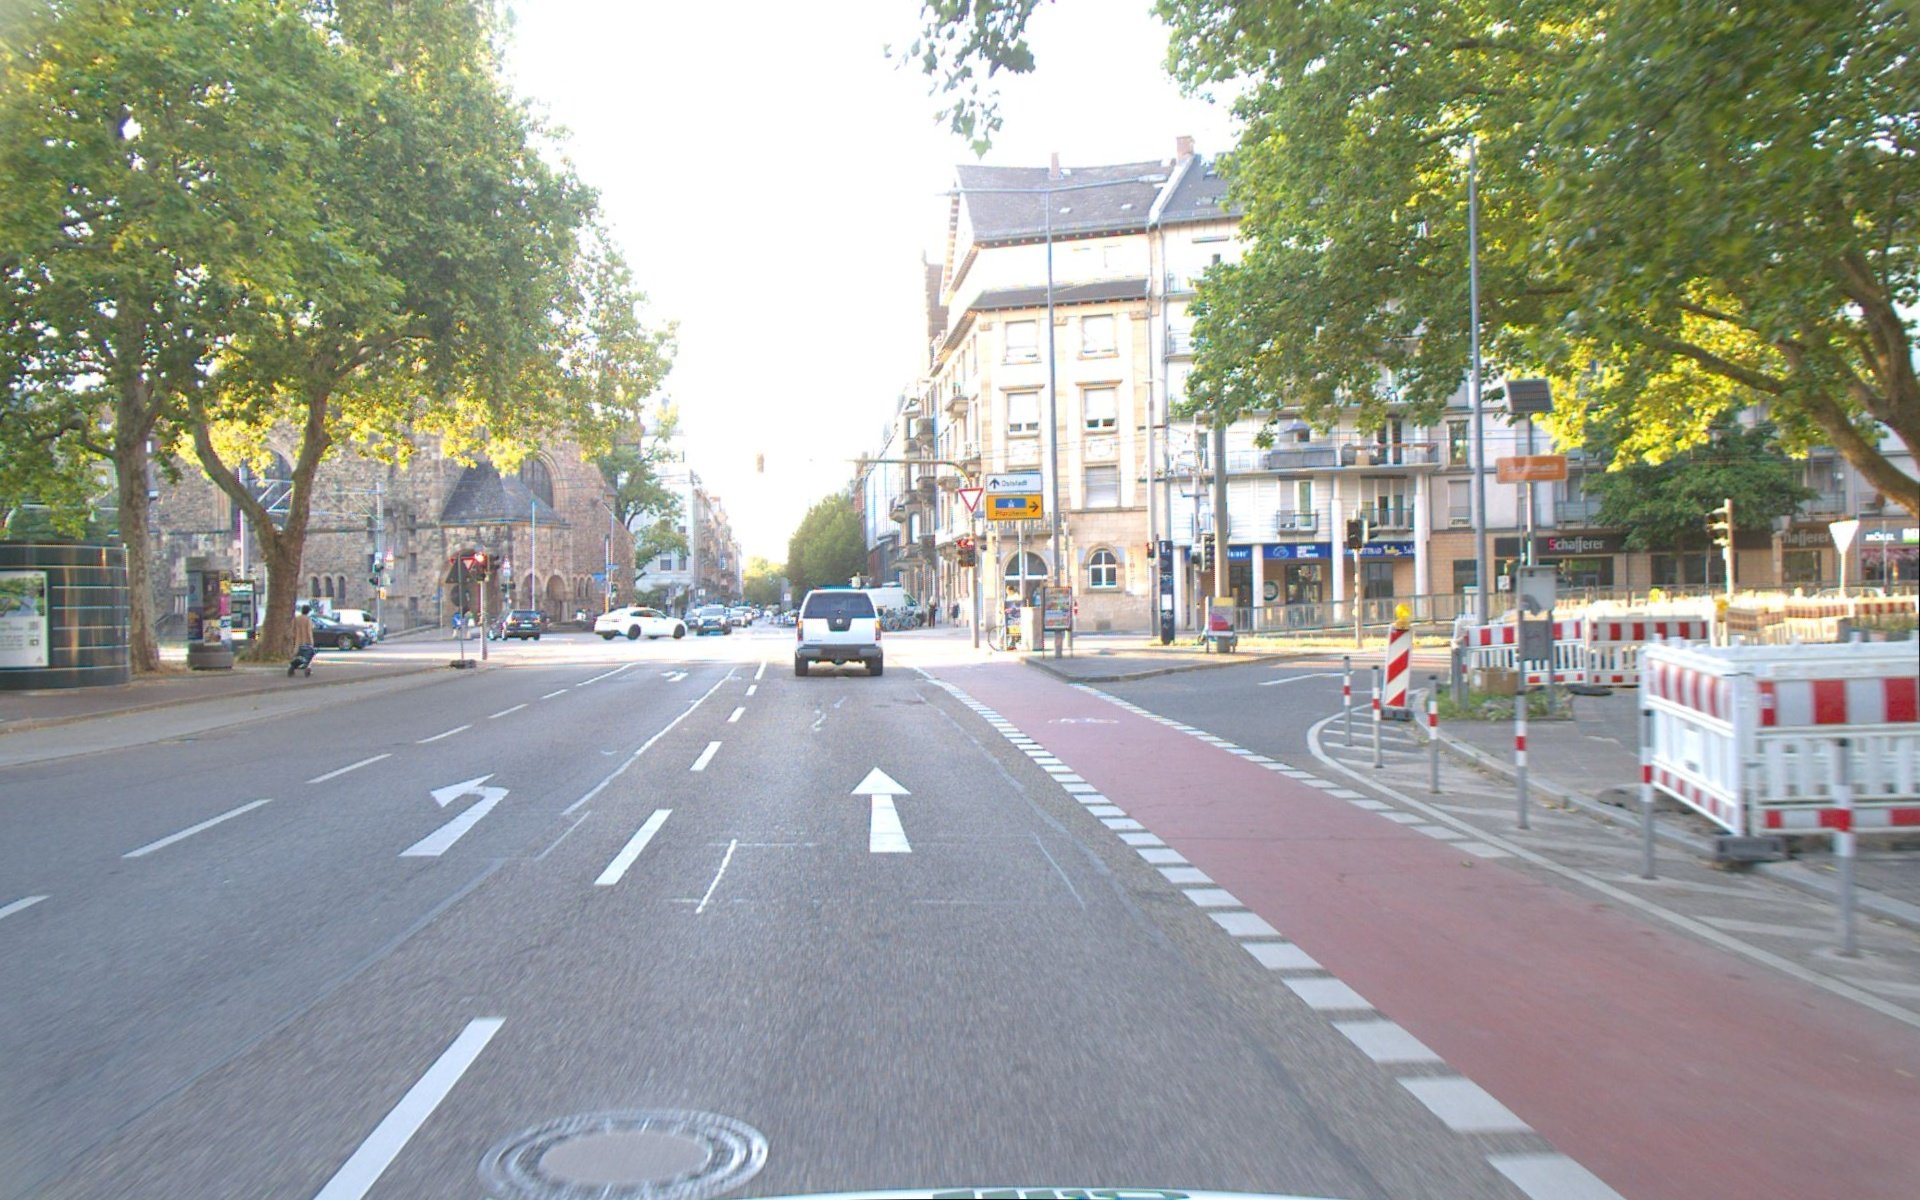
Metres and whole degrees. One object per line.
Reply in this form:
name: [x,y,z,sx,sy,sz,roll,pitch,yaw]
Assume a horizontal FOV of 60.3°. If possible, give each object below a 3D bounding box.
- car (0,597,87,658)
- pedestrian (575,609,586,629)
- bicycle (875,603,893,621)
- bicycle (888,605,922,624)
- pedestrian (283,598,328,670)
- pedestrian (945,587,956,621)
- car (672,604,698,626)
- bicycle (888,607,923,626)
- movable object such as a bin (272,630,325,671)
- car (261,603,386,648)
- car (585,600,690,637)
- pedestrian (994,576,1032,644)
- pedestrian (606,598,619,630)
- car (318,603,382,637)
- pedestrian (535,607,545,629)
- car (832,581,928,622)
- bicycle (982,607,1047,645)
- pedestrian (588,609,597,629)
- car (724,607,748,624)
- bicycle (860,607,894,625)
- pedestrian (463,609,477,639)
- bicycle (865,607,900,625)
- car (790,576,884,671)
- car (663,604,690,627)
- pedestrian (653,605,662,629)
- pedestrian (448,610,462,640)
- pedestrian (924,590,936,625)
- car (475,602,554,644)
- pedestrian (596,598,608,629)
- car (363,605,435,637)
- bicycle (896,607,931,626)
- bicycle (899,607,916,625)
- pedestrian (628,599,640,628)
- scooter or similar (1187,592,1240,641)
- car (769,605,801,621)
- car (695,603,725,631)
car: [-31.165,0.914,53.913,2.035,1.873,4.633,-1,1,19]
pedestrian: [-24.590,1.226,107.165,0.560,1.313,0.486,-1,0,16]
bicycle: [-4.285,0.700,93.718,0.532,0.985,1.923,-1,0,12]
bicycle: [-3.026,0.783,90.960,1.877,0.985,0.545,-1,0,-4]
pedestrian: [-15.427,0.794,38.982,0.722,1.657,0.686,-1,0,9]
pedestrian: [-0.524,0.220,90.408,0.581,1.799,0.653,-1,0,0]
car: [-21.749,1.204,130.669,1.957,1.680,3.812,1,0,-10]
bicycle: [-3.009,0.901,91.240,1.877,0.985,0.545,-1,0,-4]
movable object such as a bin: [-15.293,1.167,38.231,0.722,0.906,0.983,-1,0,9]
car: [-25.218,1.001,65.663,4.167,1.680,1.999,-1,0,-3]
car: [-14.395,0.801,74.022,1.958,1.557,4.630,-1,0,34]
pedestrian: [1.435,0.264,44.776,0.783,1.799,0.717,-1,0,-20]
pedestrian: [-21.529,0.862,102.546,0.640,1.919,0.586,-1,0,5]
car: [-36.762,1.196,99.747,1.672,1.943,3.495,-1,0,21]
pedestrian: [-25.736,1.102,101.342,0.491,1.303,0.488,-1,0,-26]
car: [-4.677,0.091,97.411,2.038,2.328,5.782,-1,0,44]
bicycle: [1.450,0.694,44.275,1.660,0.985,0.544,-1,0,-9]
pedestrian: [-23.840,1.223,107.278,0.481,1.309,0.498,-1,0,-6]
car: [-20.468,1.391,151.015,1.957,1.533,3.812,1,0,-10]
bicycle: [-4.626,0.894,92.389,1.877,0.985,0.545,-1,0,-4]
pedestrian: [-26.417,1.294,89.119,0.544,1.612,0.548,-1,0,5]
bicycle: [-4.287,0.893,91.603,1.881,0.985,0.544,-1,0,-12]
car: [-2.590,0.470,35.190,1.829,1.846,3.997,-2,0,-4]
car: [-21.074,1.170,122.935,1.957,1.680,3.812,1,0,-10]
pedestrian: [-24.430,1.398,133.463,0.540,1.919,0.596,-1,0,9]
pedestrian: [-27.194,1.339,89.012,0.544,1.612,0.548,-1,0,5]
pedestrian: [-1.669,0.407,92.031,0.581,1.919,0.647,-1,0,0]
car: [-21.331,1.055,79.100,2.063,1.873,4.570,-2,1,-37]
pedestrian: [-22.222,0.826,102.601,0.581,1.919,0.554,-1,0,5]
car: [-33.168,1.237,97.878,3.713,1.837,1.714,-1,0,16]
bicycle: [-2.581,0.911,92.047,1.874,0.985,0.546,-1,0,12]
bicycle: [-2.947,0.912,93.391,0.532,0.985,1.923,-1,0,12]
pedestrian: [-21.759,0.915,110.335,0.580,1.919,0.554,-1,0,11]
scooter or similar: [6.763,0.432,44.133,0.541,1.272,1.369,-1,0,-42]
car: [-21.595,1.578,203.907,3.913,1.847,1.996,-1,0,-9]
car: [-15.360,1.010,101.428,1.749,1.680,3.812,1,0,-10]
